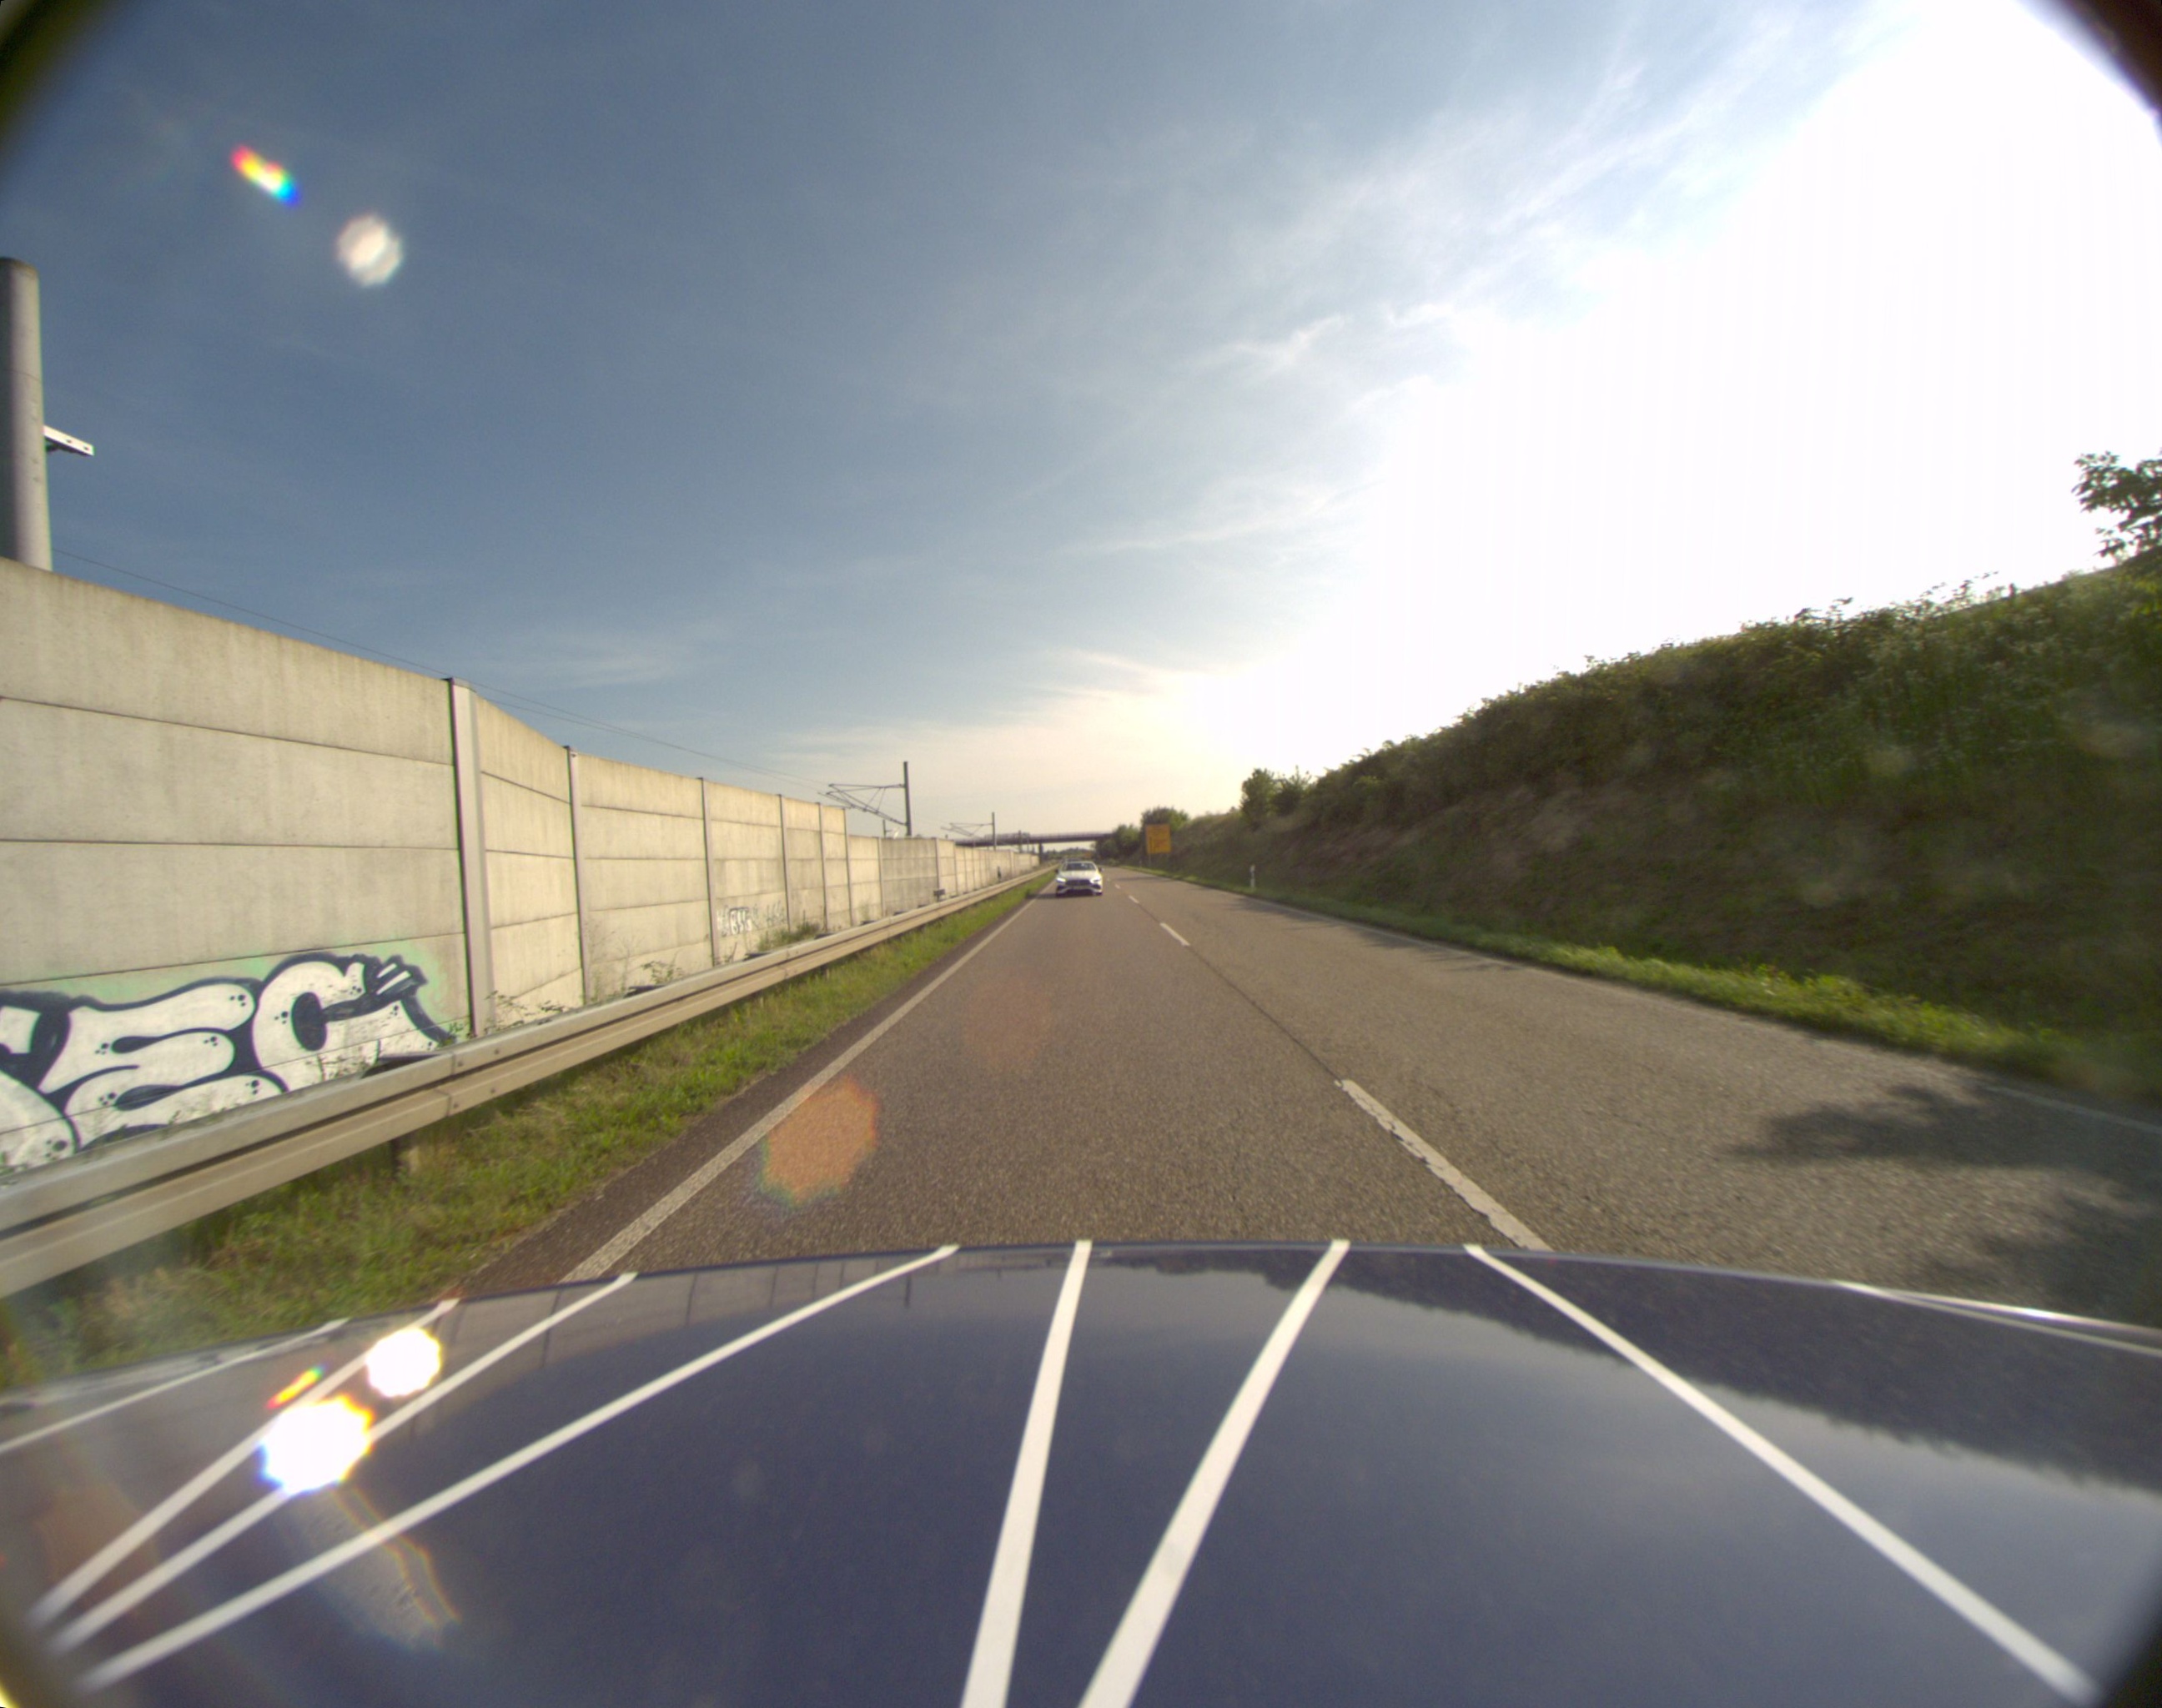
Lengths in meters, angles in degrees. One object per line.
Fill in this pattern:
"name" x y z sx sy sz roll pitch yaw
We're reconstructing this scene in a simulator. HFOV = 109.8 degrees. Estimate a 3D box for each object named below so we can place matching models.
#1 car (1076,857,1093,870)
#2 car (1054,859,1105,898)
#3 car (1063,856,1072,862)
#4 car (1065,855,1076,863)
"car" 0.432 1.180 92.315 1.930 1.399 4.973 -1 1 0
"car" -0.029 0.970 31.934 1.930 1.399 4.974 -2 0 1
"car" -3.196 1.115 175.712 1.930 1.399 4.973 -1 1 0
"car" -1.910 0.924 139.436 1.930 1.399 4.973 -1 1 0
